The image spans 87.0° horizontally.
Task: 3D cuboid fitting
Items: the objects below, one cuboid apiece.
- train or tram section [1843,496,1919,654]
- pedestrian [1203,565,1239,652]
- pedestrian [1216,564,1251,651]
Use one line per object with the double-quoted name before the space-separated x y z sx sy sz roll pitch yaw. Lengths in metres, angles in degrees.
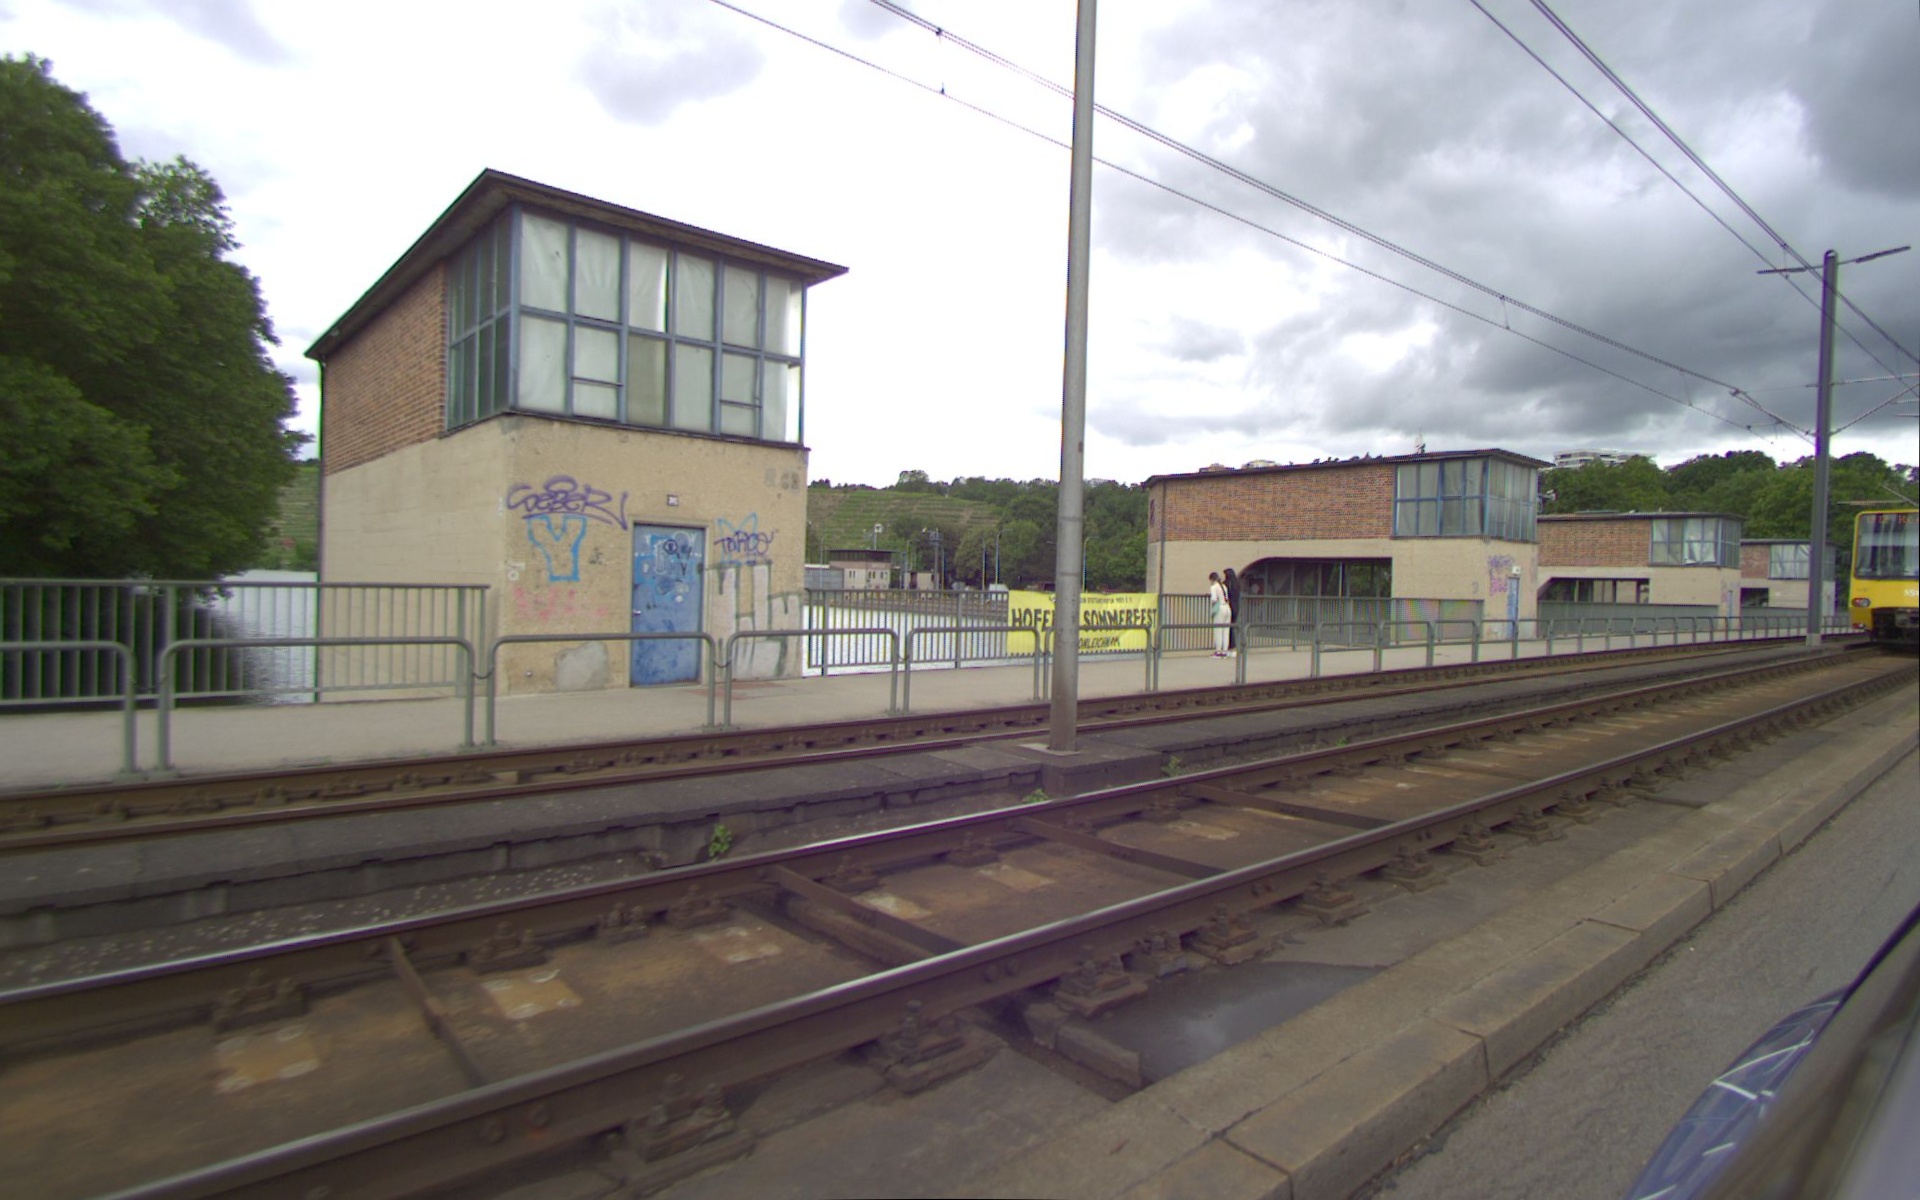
"train or tram section" 30.407 -0.612 30.958 19.551 3.811 2.797 0 2 -42
"pedestrian" 5.040 0.154 19.546 0.434 1.647 0.348 2 2 -23
"pedestrian" 5.388 0.147 19.924 0.450 1.668 0.332 2 2 -23
